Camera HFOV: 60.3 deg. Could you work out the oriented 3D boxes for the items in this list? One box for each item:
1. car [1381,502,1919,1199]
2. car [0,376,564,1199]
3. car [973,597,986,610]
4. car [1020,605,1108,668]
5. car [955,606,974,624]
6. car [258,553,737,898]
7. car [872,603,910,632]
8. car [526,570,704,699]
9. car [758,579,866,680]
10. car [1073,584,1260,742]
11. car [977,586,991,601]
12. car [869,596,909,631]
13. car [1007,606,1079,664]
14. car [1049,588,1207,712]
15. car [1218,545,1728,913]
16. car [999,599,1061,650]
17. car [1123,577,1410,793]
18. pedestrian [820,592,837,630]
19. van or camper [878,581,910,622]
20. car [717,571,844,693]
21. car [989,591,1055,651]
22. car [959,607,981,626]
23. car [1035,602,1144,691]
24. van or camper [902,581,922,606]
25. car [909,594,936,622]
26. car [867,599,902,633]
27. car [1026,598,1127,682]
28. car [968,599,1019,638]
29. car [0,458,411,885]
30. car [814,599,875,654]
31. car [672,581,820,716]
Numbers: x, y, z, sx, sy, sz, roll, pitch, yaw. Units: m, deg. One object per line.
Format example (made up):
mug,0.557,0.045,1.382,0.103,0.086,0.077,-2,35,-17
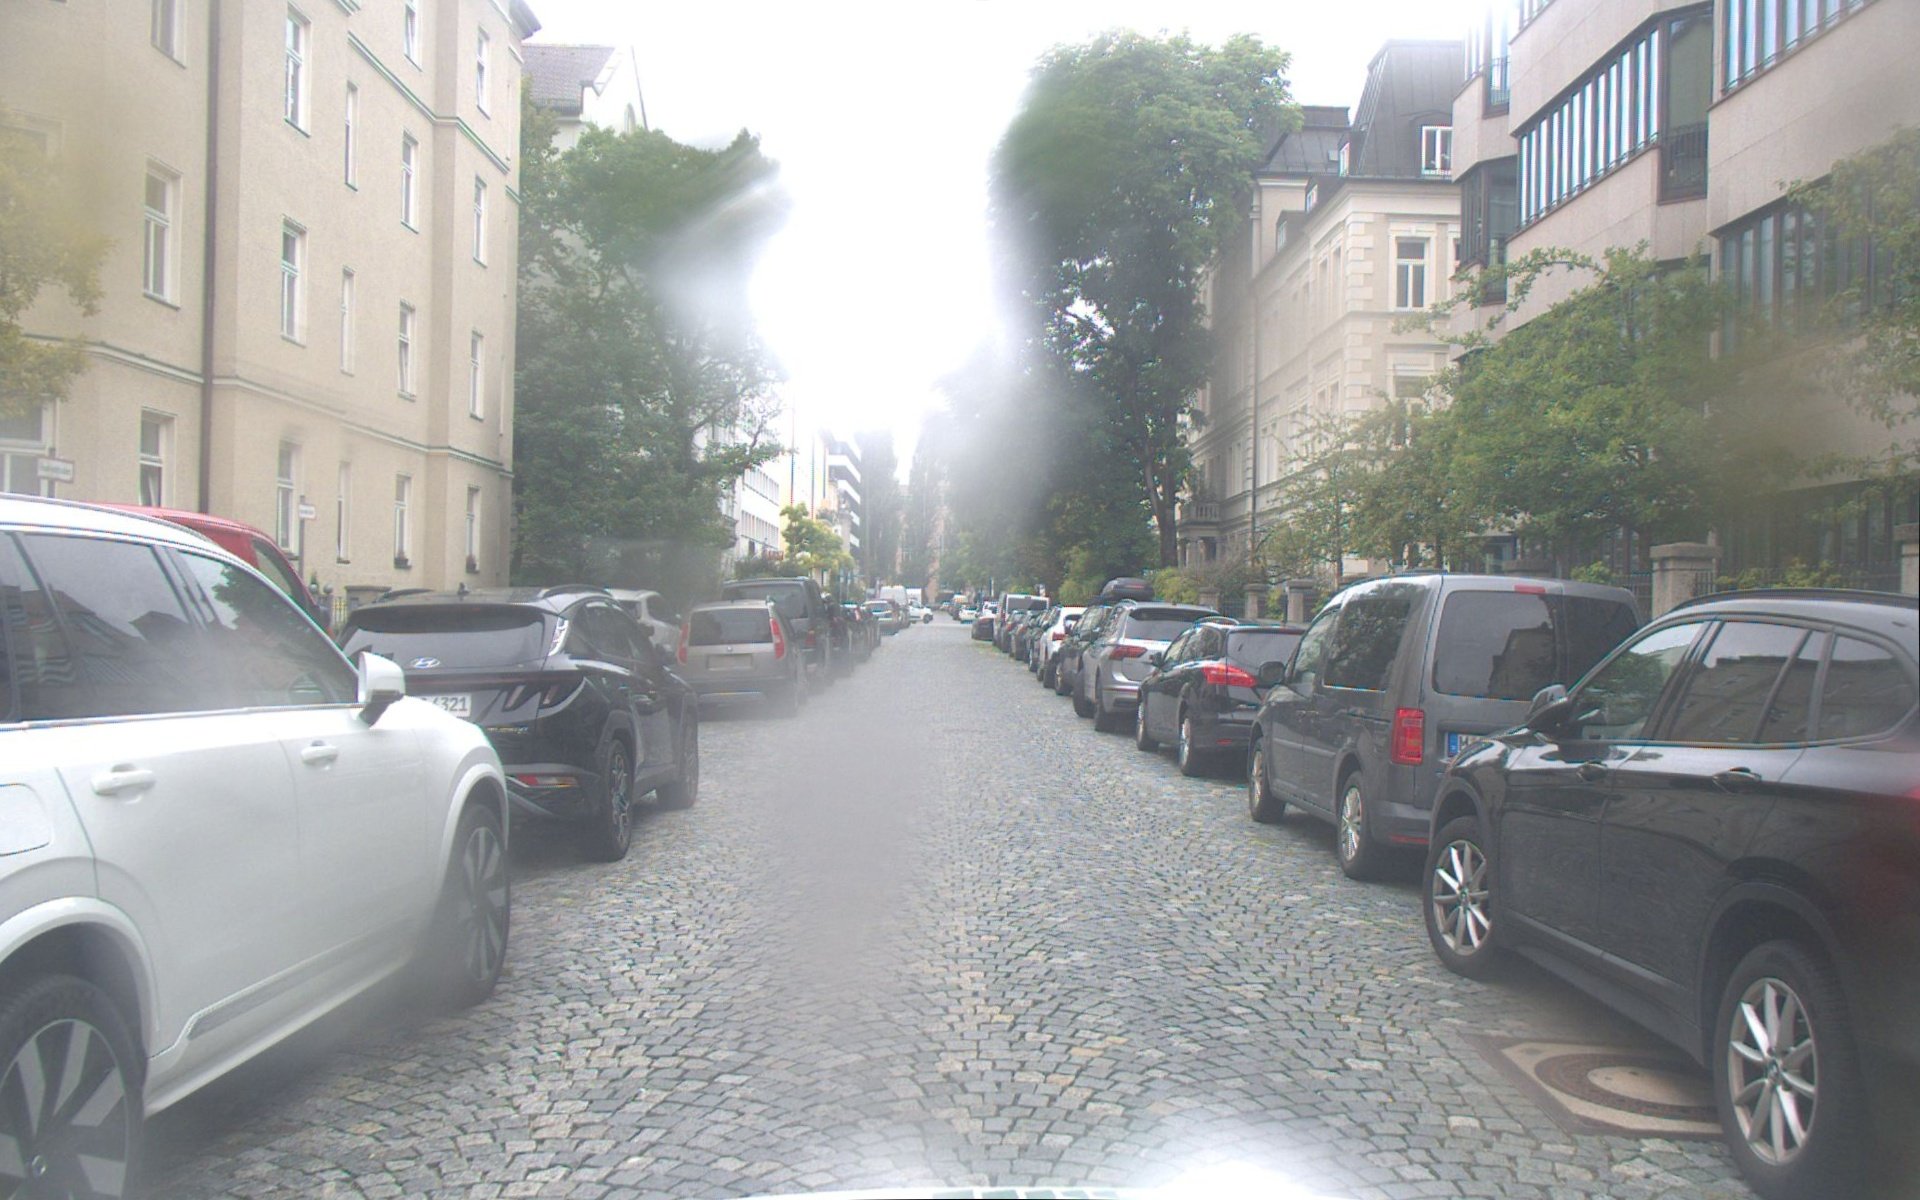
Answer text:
car,3.056,0.712,5.694,1.823,1.731,4.812,4,0,-1
car,-2.746,0.527,4.748,1.965,1.840,5.174,-1,0,0
car,3.104,0.524,262.096,1.953,2.049,3.999,1,-1,0
car,2.696,0.934,43.695,1.661,1.465,4.057,4,0,-5
car,0.438,1.404,154.965,1.753,1.547,3.999,1,0,0
car,-2.817,0.690,11.311,1.878,1.765,4.755,-3,0,0
car,-4.068,1.043,98.322,1.834,1.607,4.209,3,0,2
car,-5.470,0.521,26.834,1.906,1.765,4.655,4,0,-2
car,-3.115,0.595,35.762,1.953,1.950,5.175,-2,0,-2
car,2.613,0.765,22.026,1.835,1.765,4.891,3,0,0
car,3.427,-0.901,237.467,1.953,2.049,3.999,1,-1,0
car,-3.454,0.630,80.294,1.836,1.607,4.253,-2,0,-3
car,2.370,0.989,48.084,1.679,1.498,4.267,4,0,-2
car,2.735,0.781,27.974,1.836,1.765,4.744,5,0,-3
car,3.116,0.702,11.136,1.753,1.827,4.507,5,0,-2
car,2.279,0.788,55.129,1.800,1.516,4.421,4,0,0
car,2.962,0.765,17.041,1.836,1.765,4.657,5,0,-2
pedestrian,-6.892,0.580,86.728,0.776,1.951,0.758,2,0,-1
van or camper,-4.500,0.093,113.266,1.953,2.698,3.999,-2,0,0
car,-3.075,0.524,29.198,1.835,1.951,4.825,-1,0,-2
car,2.229,0.745,60.673,1.836,1.962,5.161,4,0,-3
car,0.813,1.330,134.431,1.753,1.547,3.999,1,0,0
car,2.515,0.872,33.102,1.835,1.516,4.617,3,0,1
van or camper,-5.776,-0.751,197.818,2.210,2.790,5.097,2,0,-1
car,-2.852,0.635,126.890,1.953,2.049,3.999,1,0,0
car,-4.190,0.867,92.811,1.835,1.807,4.121,-2,0,-2
car,2.612,0.877,38.082,1.835,1.699,4.656,4,0,-1
car,1.452,0.809,72.758,1.836,1.529,4.508,4,0,-3
car,-5.239,0.300,10.275,1.954,1.965,5.328,3,0,-2
car,-3.249,0.723,46.487,1.629,1.469,4.168,0,0,-4
car,-3.056,0.654,24.395,1.828,1.765,4.400,-1,0,-3
